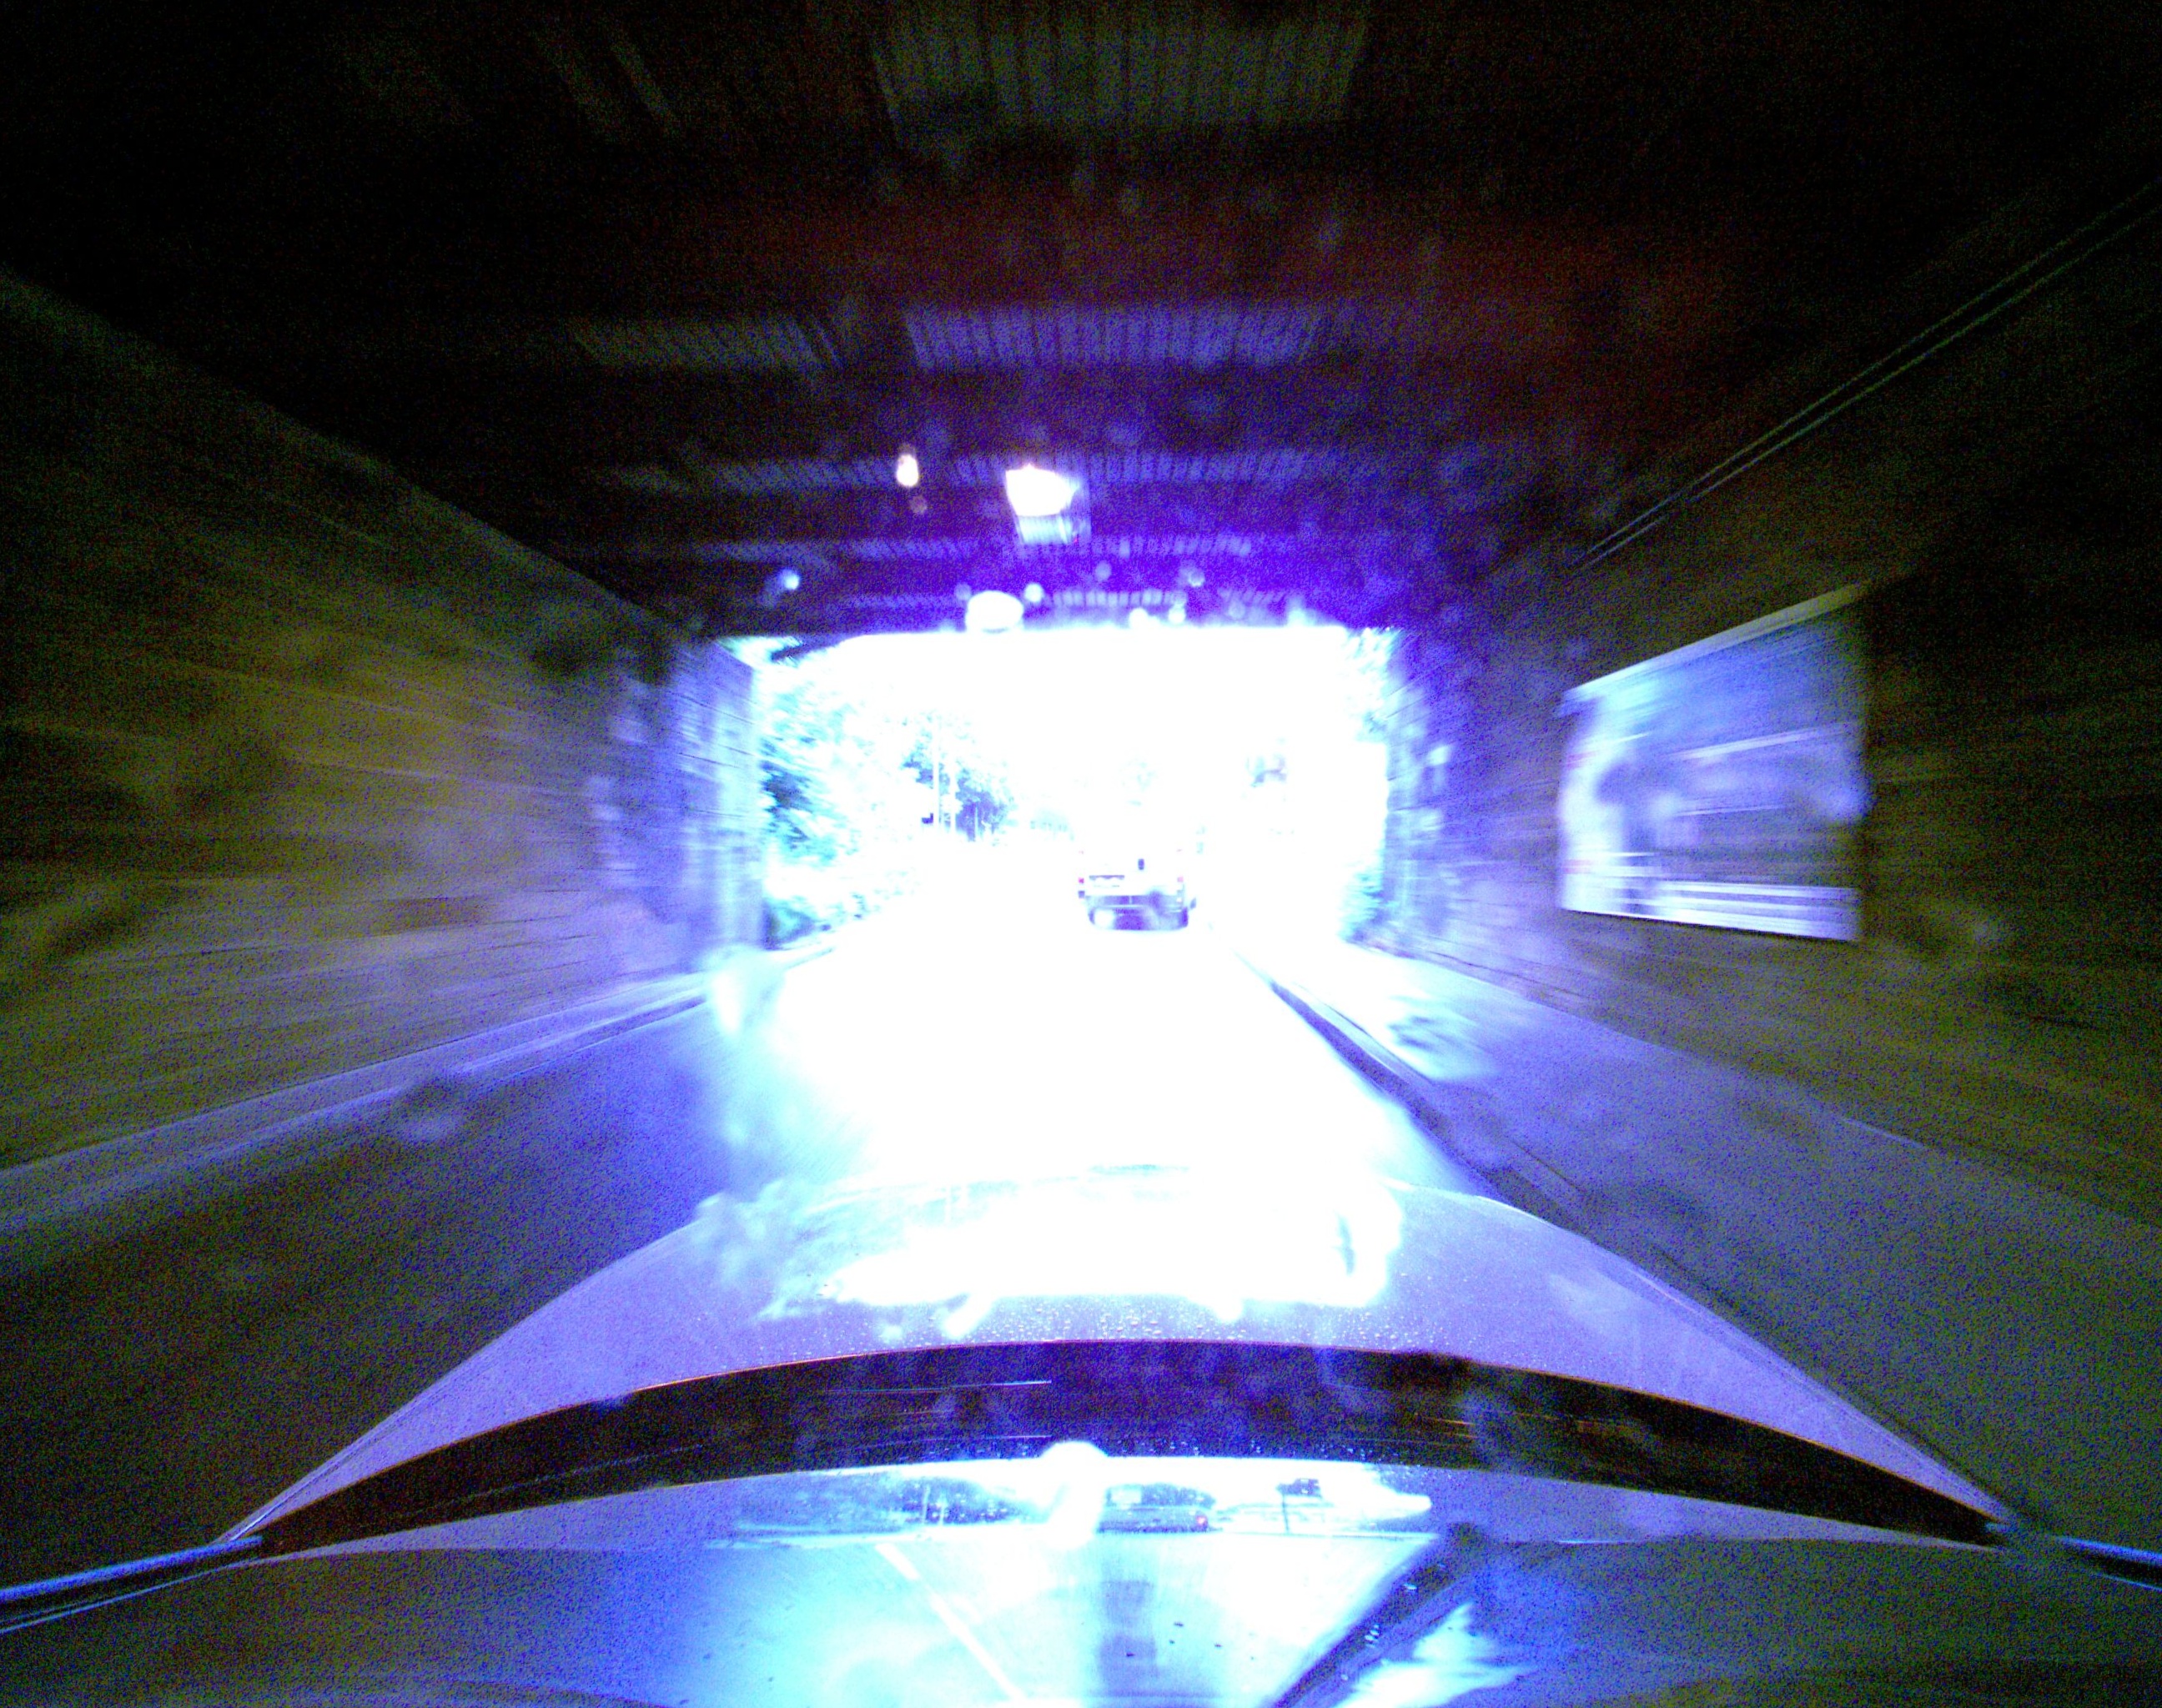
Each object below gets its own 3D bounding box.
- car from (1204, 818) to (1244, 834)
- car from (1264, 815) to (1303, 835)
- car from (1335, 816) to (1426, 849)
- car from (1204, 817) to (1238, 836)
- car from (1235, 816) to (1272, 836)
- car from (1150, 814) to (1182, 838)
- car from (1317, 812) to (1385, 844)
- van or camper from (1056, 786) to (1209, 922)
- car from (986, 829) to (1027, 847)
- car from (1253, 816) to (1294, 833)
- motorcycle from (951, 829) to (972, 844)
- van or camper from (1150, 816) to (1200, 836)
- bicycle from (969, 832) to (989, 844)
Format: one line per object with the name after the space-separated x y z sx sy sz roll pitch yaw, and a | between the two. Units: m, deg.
14.558 -2.806 82.845 3.959 1.539 2.007 0 0 13 | car
16.993 -2.448 68.476 1.990 1.539 3.994 0 0 -5 | car
13.815 -0.980 37.490 4.118 1.438 1.823 -1 0 -33 | car
11.891 -2.315 69.326 1.990 1.486 3.994 0 0 -5 | car
14.503 -2.363 68.672 1.990 1.539 3.994 0 0 -5 | car
7.195 -2.369 68.999 1.990 1.947 3.994 0 0 -5 | car
17.891 -1.723 54.139 4.053 2.013 2.006 0 0 11 | car
1.293 -0.039 17.042 2.682 2.416 4.917 0 1 9 | van or camper
-7.101 -1.503 77.959 1.975 1.688 4.024 0 0 28 | car
19.361 -2.953 81.881 3.959 1.539 2.007 0 0 13 | car
-11.874 -1.728 81.072 1.982 1.422 0.658 0 0 -2 | motorcycle
10.220 -3.030 88.078 5.279 2.013 2.083 0 0 7 | van or camper
-10.109 -1.612 81.050 0.919 1.128 2.303 0 0 23 | bicycle
